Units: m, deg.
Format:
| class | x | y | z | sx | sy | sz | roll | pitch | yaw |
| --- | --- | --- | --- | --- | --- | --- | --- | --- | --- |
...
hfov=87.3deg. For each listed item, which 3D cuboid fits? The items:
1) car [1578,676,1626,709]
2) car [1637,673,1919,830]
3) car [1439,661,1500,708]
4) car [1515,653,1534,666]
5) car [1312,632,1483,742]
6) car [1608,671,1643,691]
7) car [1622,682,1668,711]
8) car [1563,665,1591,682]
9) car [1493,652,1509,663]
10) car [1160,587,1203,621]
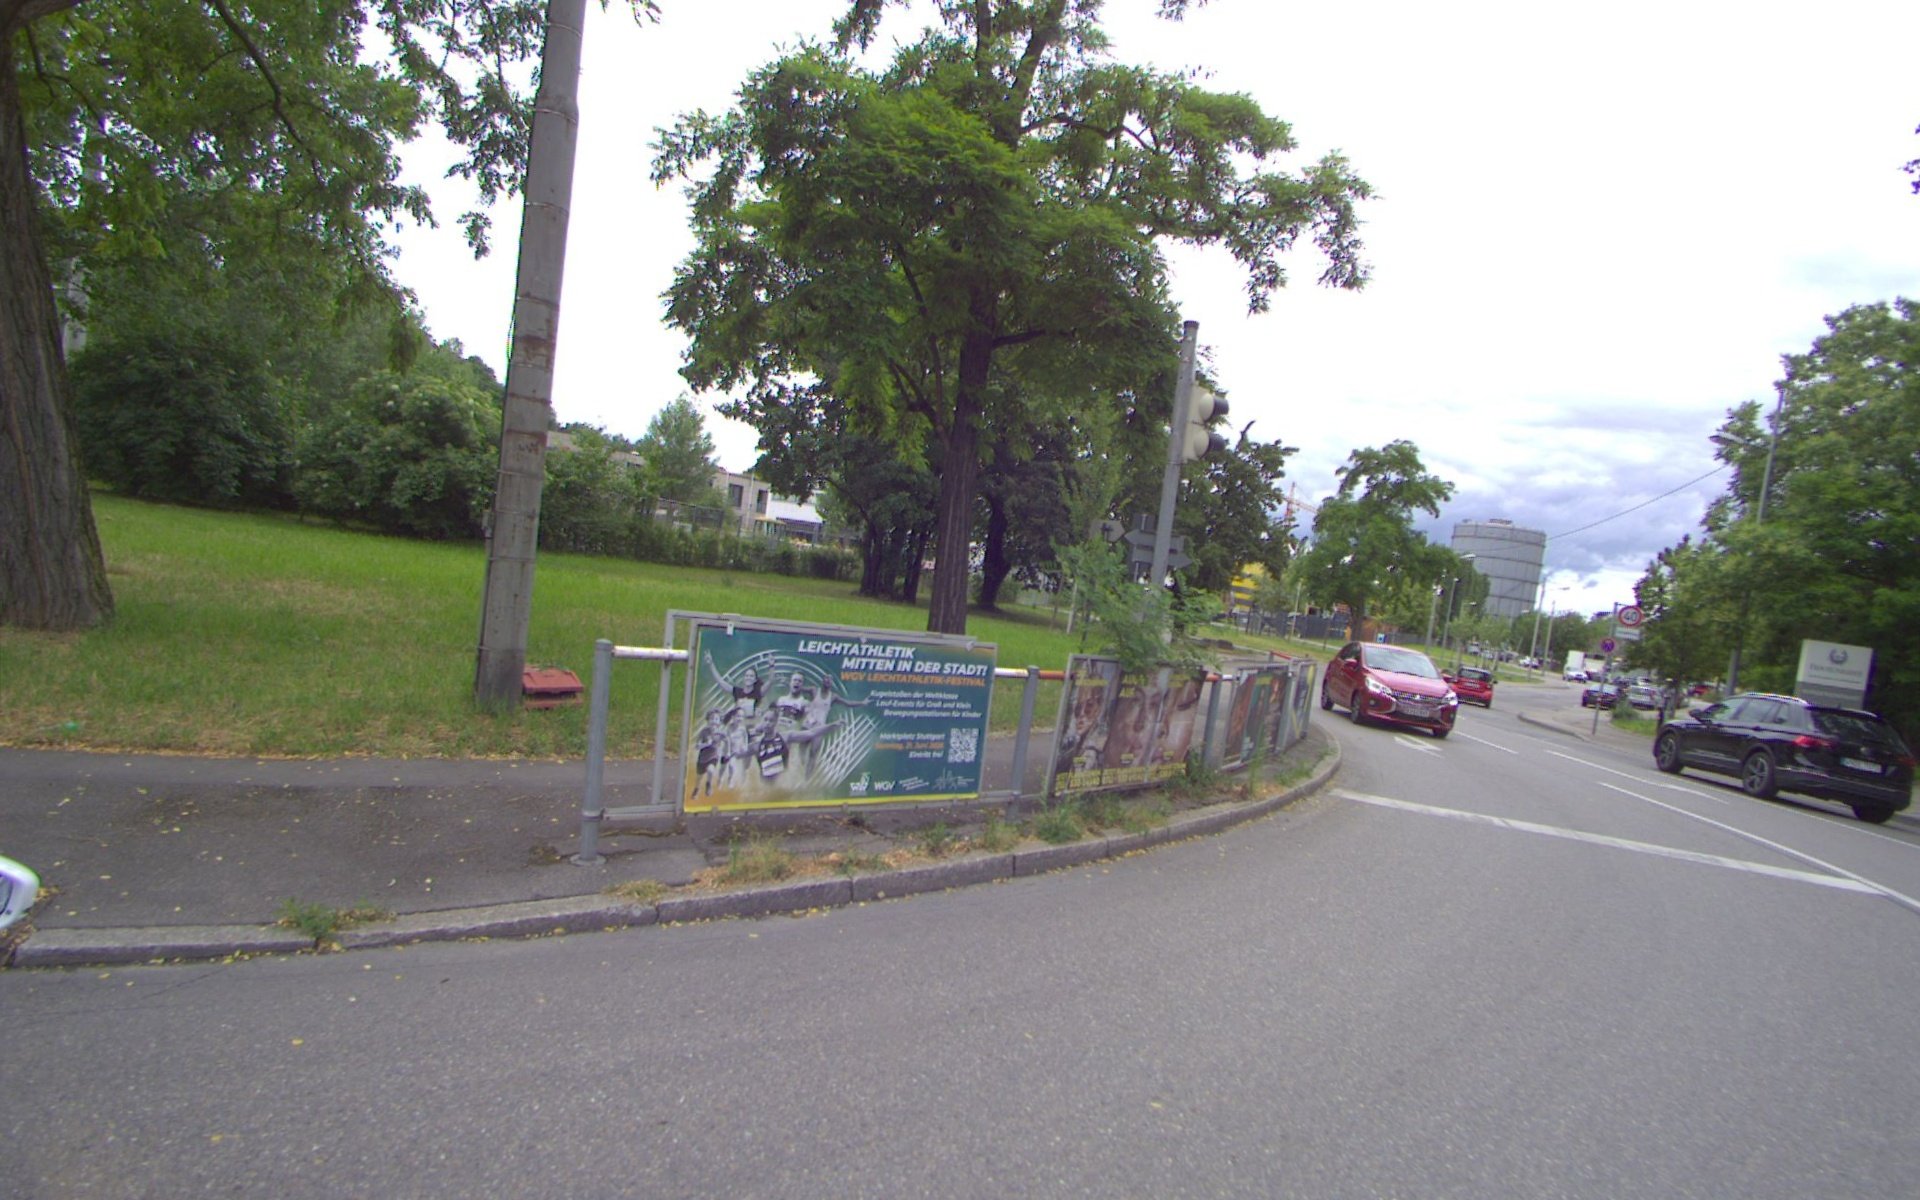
| class | x | y | z | sx | sy | sz | roll | pitch | yaw |
| --- | --- | --- | --- | --- | --- | --- | --- | --- | --- |
| car | 36.697 | 5.301 | 57.444 | 1.692 | 1.509 | 3.356 | 11 | 2 | 40 |
| car | 13.338 | 2.323 | 16.532 | 1.815 | 1.656 | 4.185 | 10 | 1 | 9 |
| car | 21.580 | 3.556 | 42.710 | 1.685 | 1.484 | 3.017 | 9 | 3 | 19 |
| car | 88.438 | 9.306 | 157.616 | 2.011 | 1.555 | 3.938 | 11 | 2 | 25 |
| car | 7.987 | 1.515 | 18.764 | 1.700 | 1.484 | 3.834 | 7 | 1 | 6 |
| car | 69.363 | 8.398 | 104.913 | 2.010 | 1.556 | 3.938 | 9 | 2 | 22 |
| car | 43.714 | 6.148 | 64.140 | 1.694 | 1.424 | 3.352 | 11 | 3 | 44 |
| car | 70.016 | 8.365 | 114.185 | 2.010 | 1.556 | 3.938 | 6 | 1 | 23 |
| car | 96.713 | 10.292 | 179.821 | 2.011 | 1.555 | 3.938 | 11 | 2 | 25 |
| car | 16.490 | 0.332 | 74.732 | 1.935 | 2.039 | 4.214 | 10 | 2 | 24 |
